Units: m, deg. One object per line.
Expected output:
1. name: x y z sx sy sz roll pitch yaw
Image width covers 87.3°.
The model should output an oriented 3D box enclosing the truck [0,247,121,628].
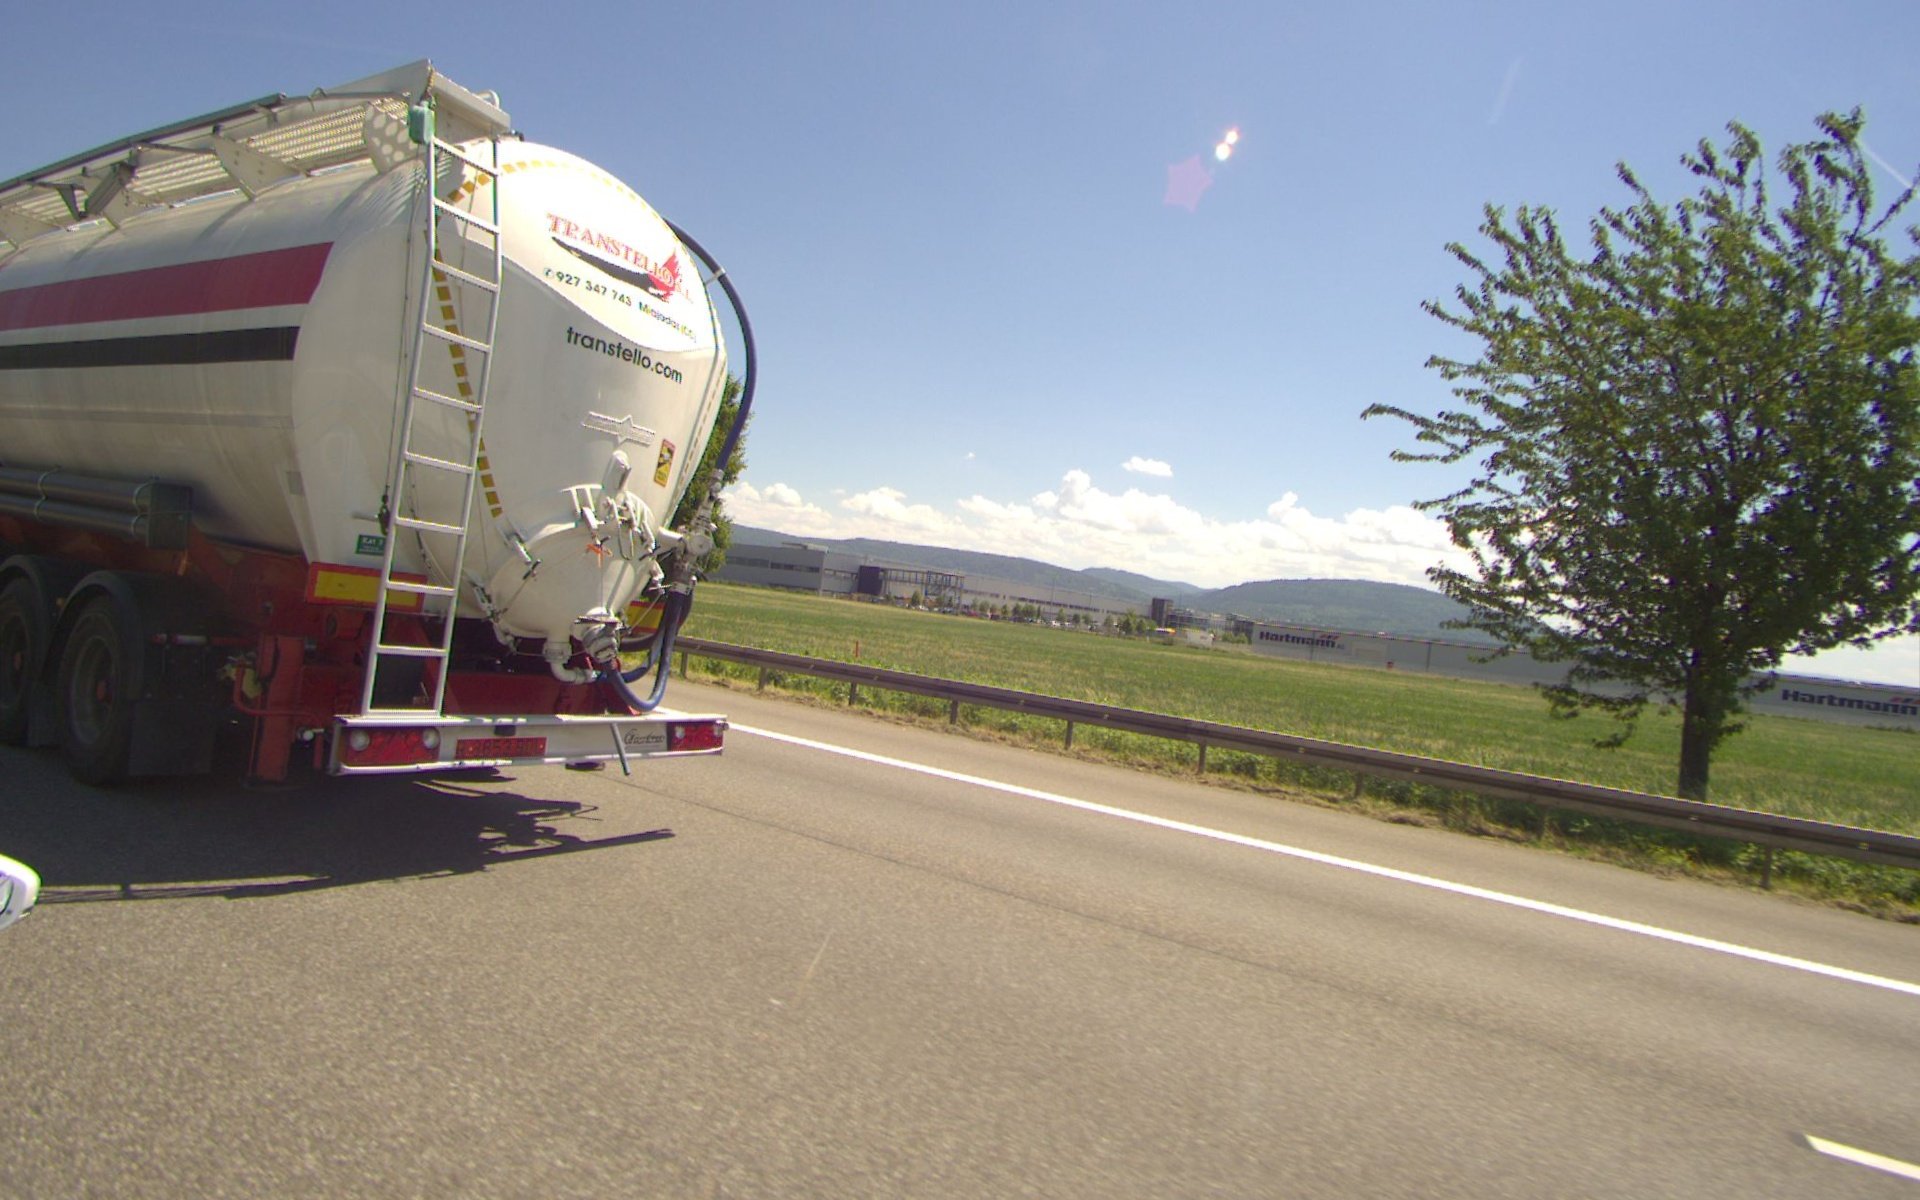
1. truck: -13.276 -2.113 12.360 4.916 4.256 2.794 7 0 31

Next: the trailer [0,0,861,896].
1. trailer: -6.751 -1.383 8.426 12.146 4.256 2.794 7 0 31
